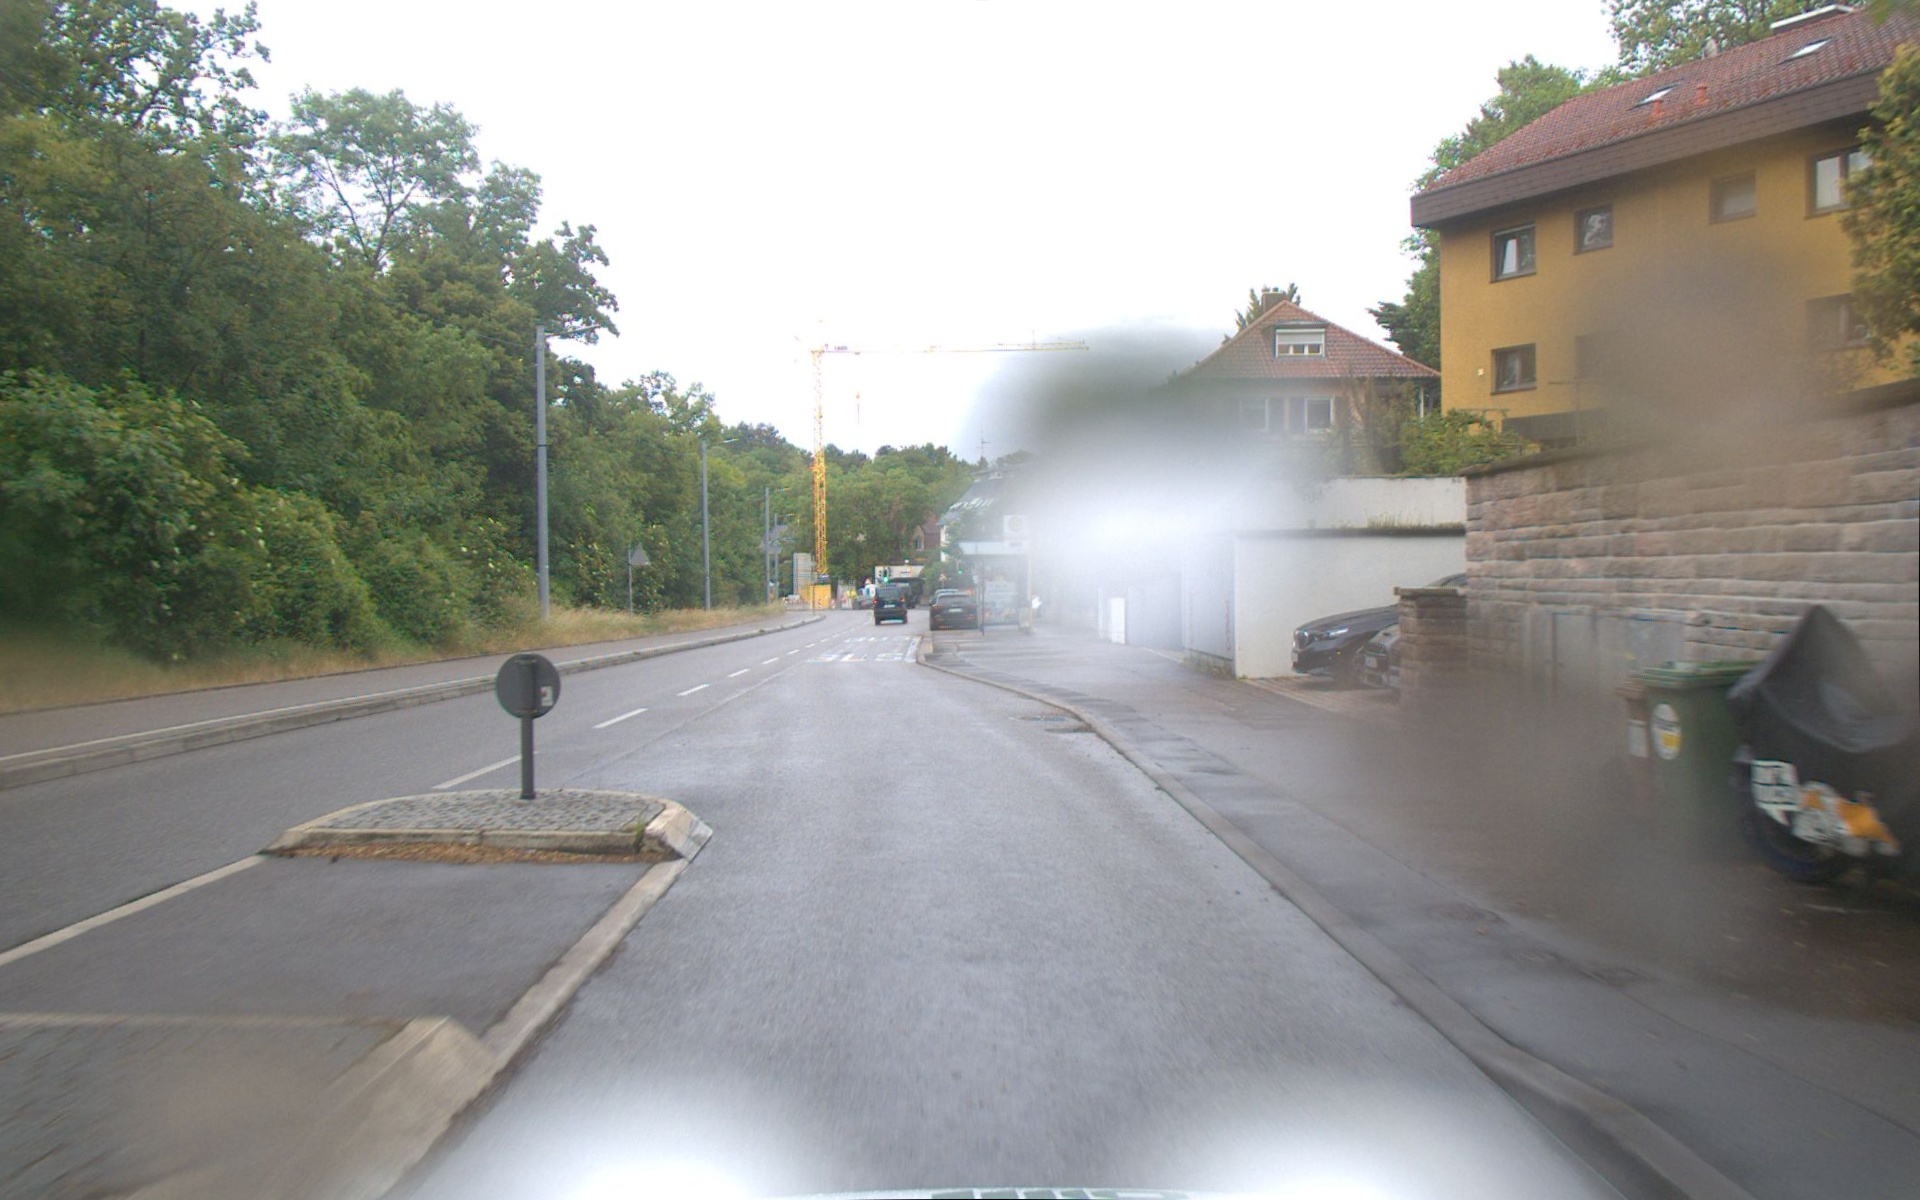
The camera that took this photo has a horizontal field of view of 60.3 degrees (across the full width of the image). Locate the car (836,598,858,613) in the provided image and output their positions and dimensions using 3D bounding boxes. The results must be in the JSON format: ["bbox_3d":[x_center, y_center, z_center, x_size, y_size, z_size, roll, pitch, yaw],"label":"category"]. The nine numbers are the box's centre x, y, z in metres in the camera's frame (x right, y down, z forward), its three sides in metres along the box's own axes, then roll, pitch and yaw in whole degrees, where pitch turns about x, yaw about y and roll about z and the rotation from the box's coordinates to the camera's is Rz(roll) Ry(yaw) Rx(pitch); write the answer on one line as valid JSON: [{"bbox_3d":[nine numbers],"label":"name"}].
[{"bbox_3d":[-12.018,0.567,175.670,1.710,1.579,3.841,2,-1,-14],"label":"car"}]

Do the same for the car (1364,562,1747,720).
[{"bbox_3d":[6.541,0.439,18.406,3.655,1.658,1.699,0,0,-2],"label":"car"}]

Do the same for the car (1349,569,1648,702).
[{"bbox_3d":[6.733,0.420,20.885,3.218,1.506,1.576,-2,1,-2],"label":"car"}]

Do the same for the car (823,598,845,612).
[{"bbox_3d":[-13.820,0.547,181.192,1.710,1.579,3.841,0,0,-14],"label":"car"}]

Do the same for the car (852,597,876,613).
[{"bbox_3d":[-9.857,0.532,169.638,1.710,1.579,3.841,0,0,-14],"label":"car"}]

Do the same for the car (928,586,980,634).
[{"bbox_3d":[-0.234,0.394,64.722,1.953,1.803,4.114,0,0,0],"label":"car"}]

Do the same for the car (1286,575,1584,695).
[{"bbox_3d":[6.592,0.471,23.191,3.694,1.580,1.608,1,0,-2],"label":"car"}]

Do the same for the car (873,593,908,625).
[{"bbox_3d":[-3.524,0.450,84.540,1.633,1.621,3.682,0,0,0],"label":"car"}]

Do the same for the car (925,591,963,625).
[{"bbox_3d":[-0.841,0.427,88.395,1.953,1.803,4.114,0,0,0],"label":"car"}]
